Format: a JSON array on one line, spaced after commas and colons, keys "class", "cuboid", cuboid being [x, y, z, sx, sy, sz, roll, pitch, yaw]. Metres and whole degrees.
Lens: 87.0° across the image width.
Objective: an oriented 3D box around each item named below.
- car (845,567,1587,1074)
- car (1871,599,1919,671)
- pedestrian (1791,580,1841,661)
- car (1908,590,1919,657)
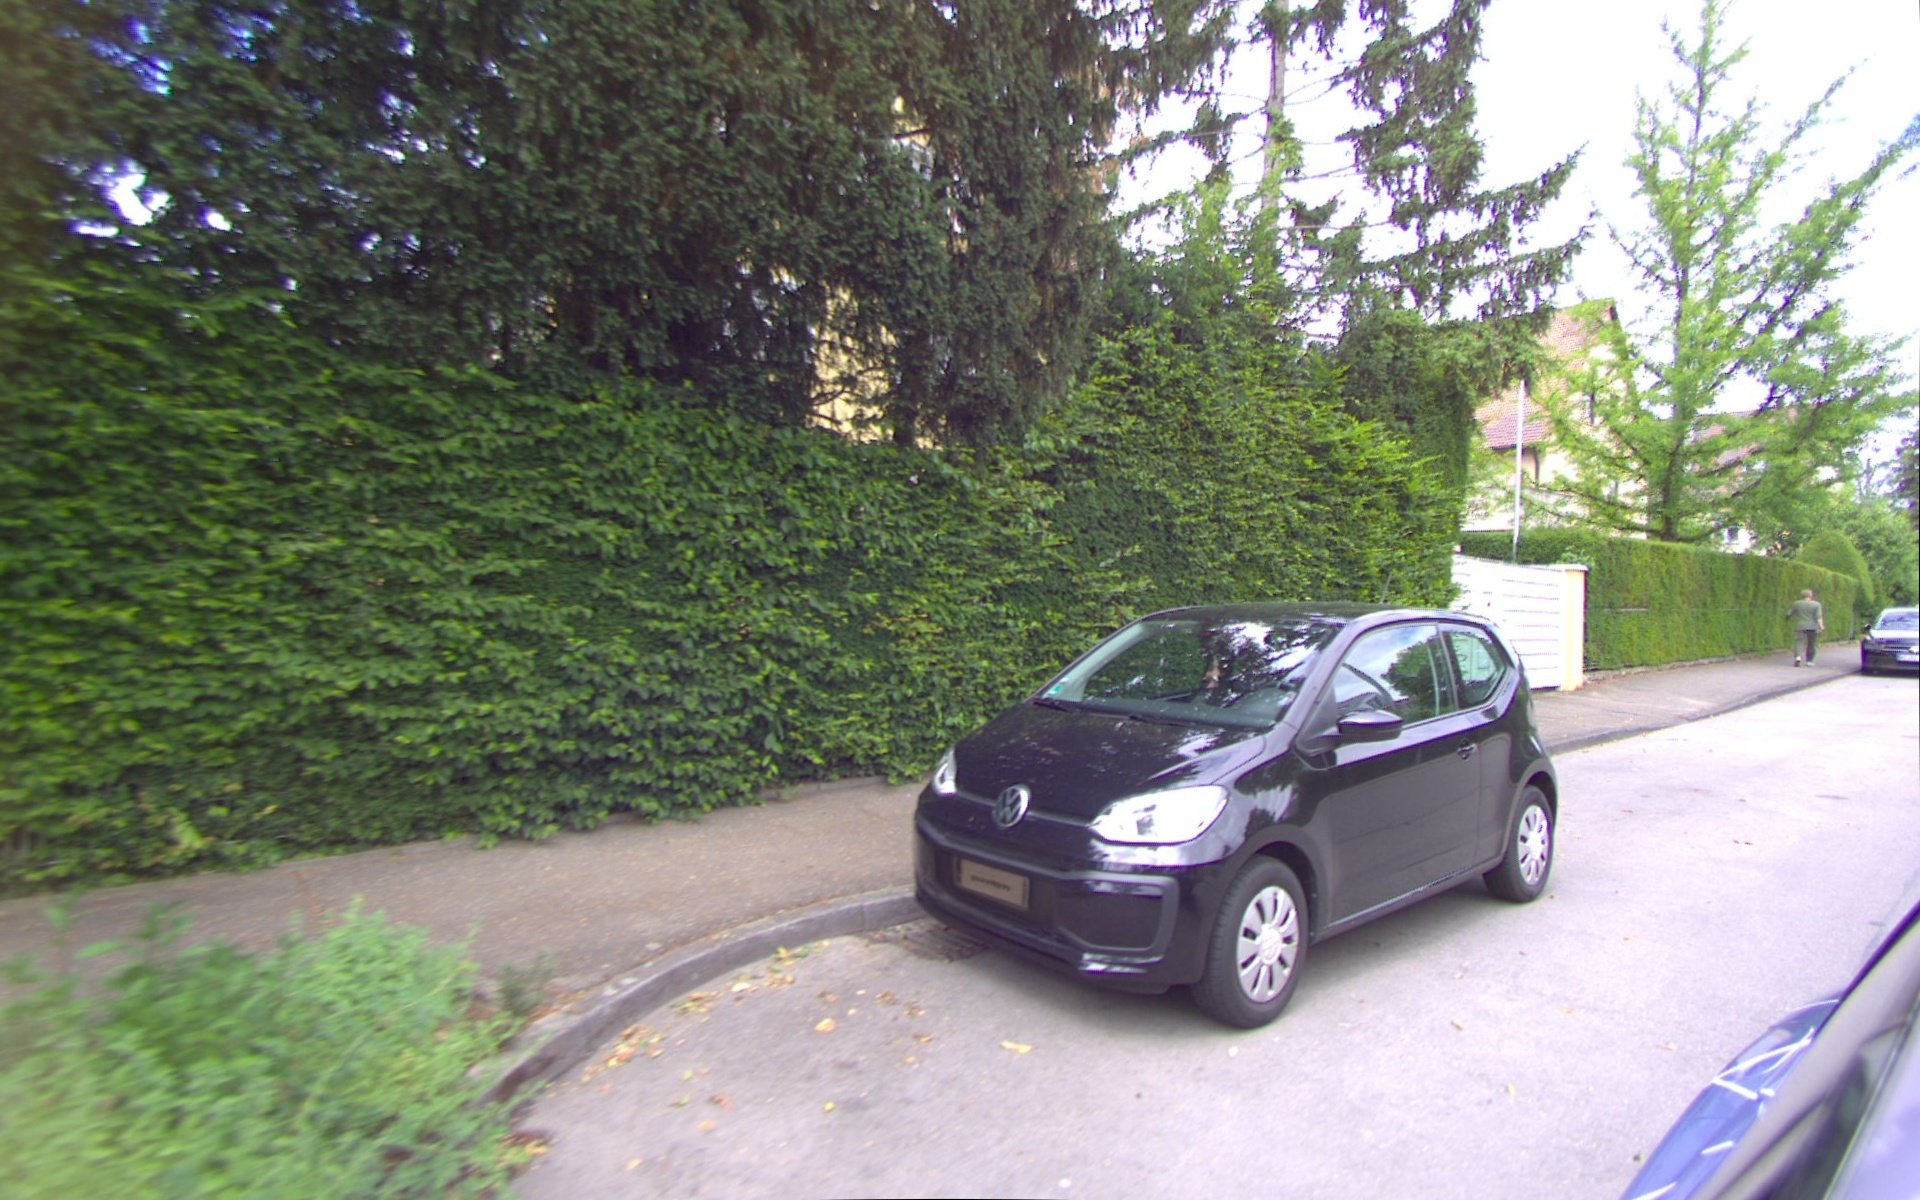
[{"class": "car", "cuboid": [1.435, 0.658, 4.816, 3.674, 1.492, 1.626, 1, 0, -41]}, {"class": "car", "cuboid": [20.838, 0.721, 21.609, 3.985, 1.424, 1.681, 0, 2, -43]}, {"class": "pedestrian", "cuboid": [18.778, 0.436, 22.194, 0.902, 1.719, 0.671, 1, 1, -41]}, {"class": "car", "cuboid": [25.485, 0.604, 25.422, 4.681, 1.600, 1.893, 0, 2, -40]}]
